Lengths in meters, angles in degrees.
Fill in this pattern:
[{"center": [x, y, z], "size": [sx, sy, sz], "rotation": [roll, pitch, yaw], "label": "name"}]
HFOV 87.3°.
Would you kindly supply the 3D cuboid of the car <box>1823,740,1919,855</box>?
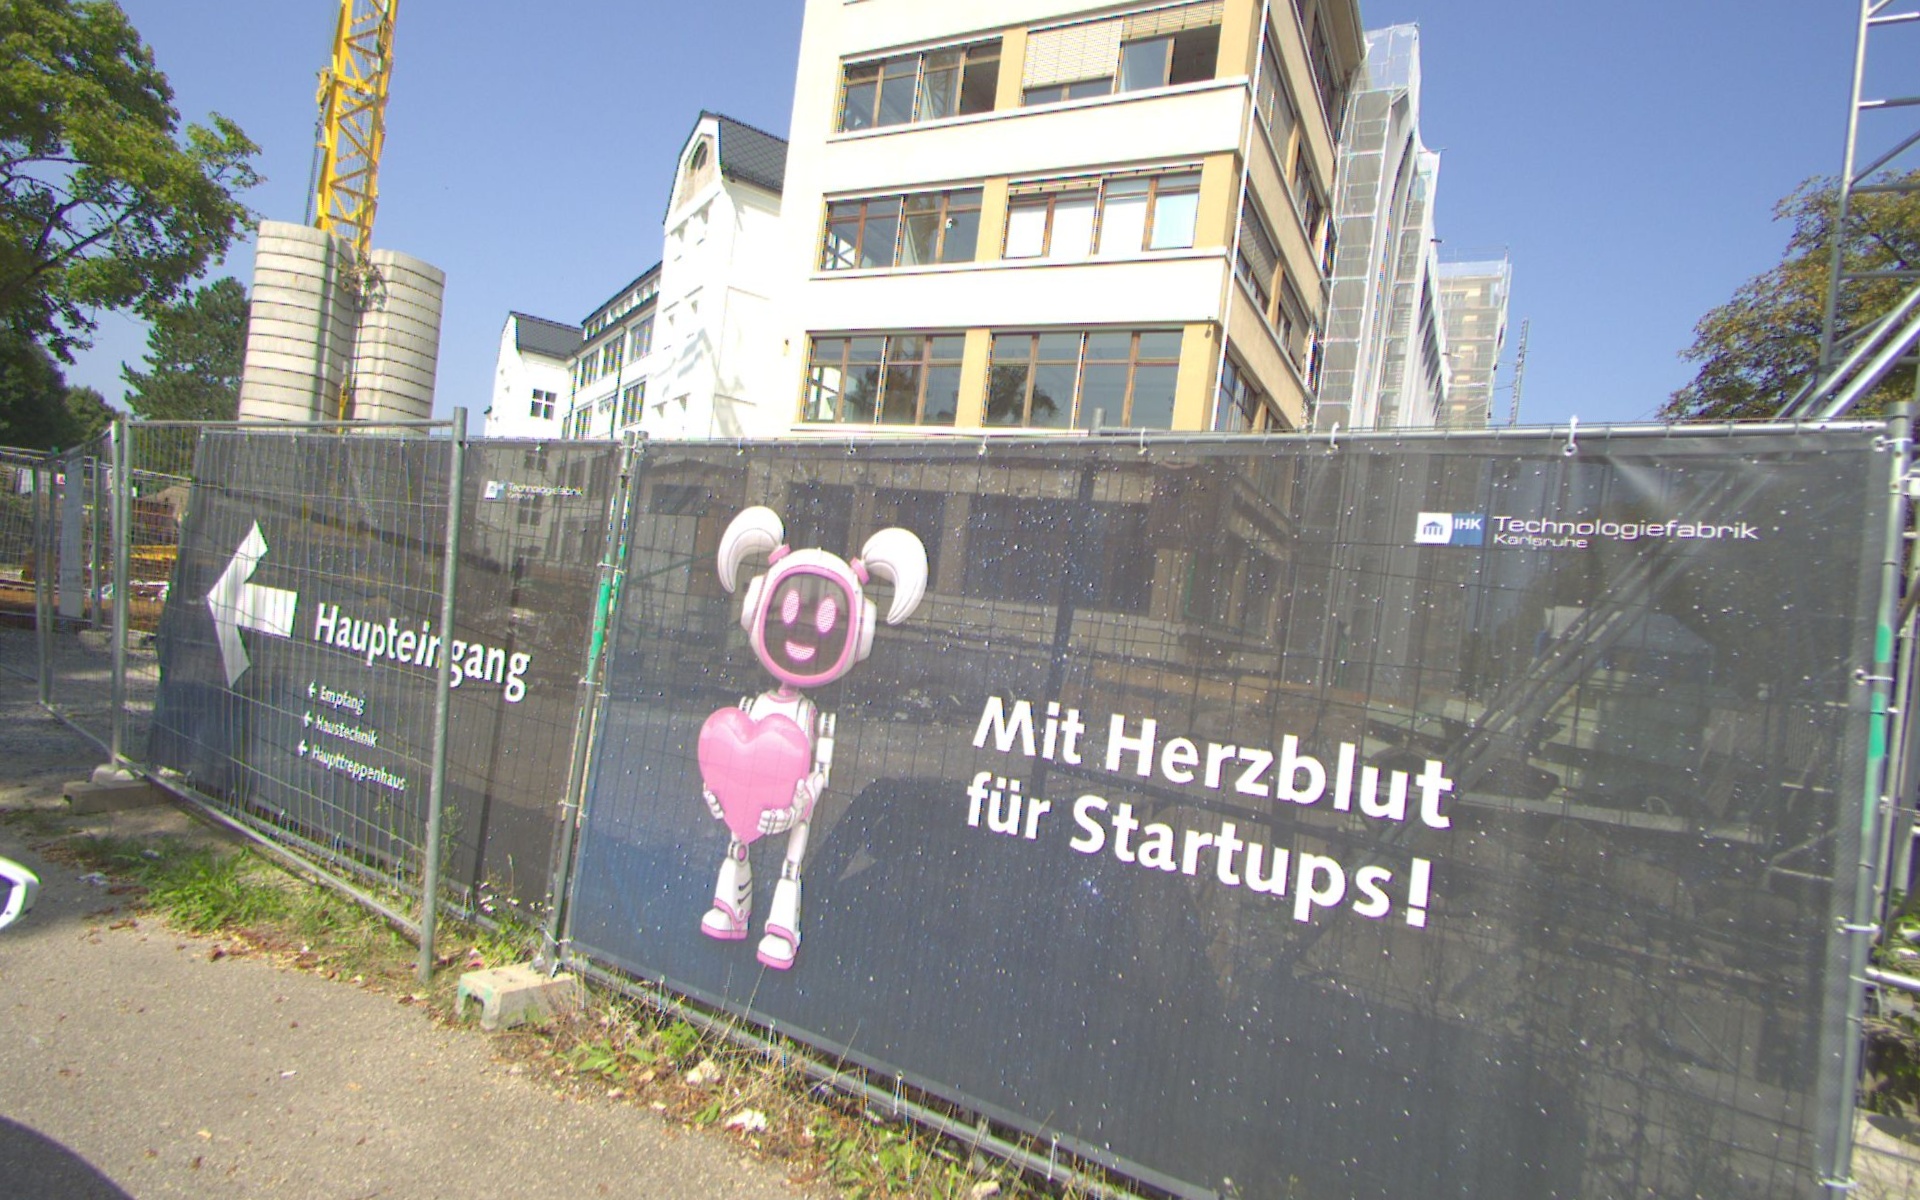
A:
[{"center": [15.431, 3.173, 15.799], "size": [1.650, 1.475, 4.660], "rotation": [8, -1, 28], "label": "car"}]
